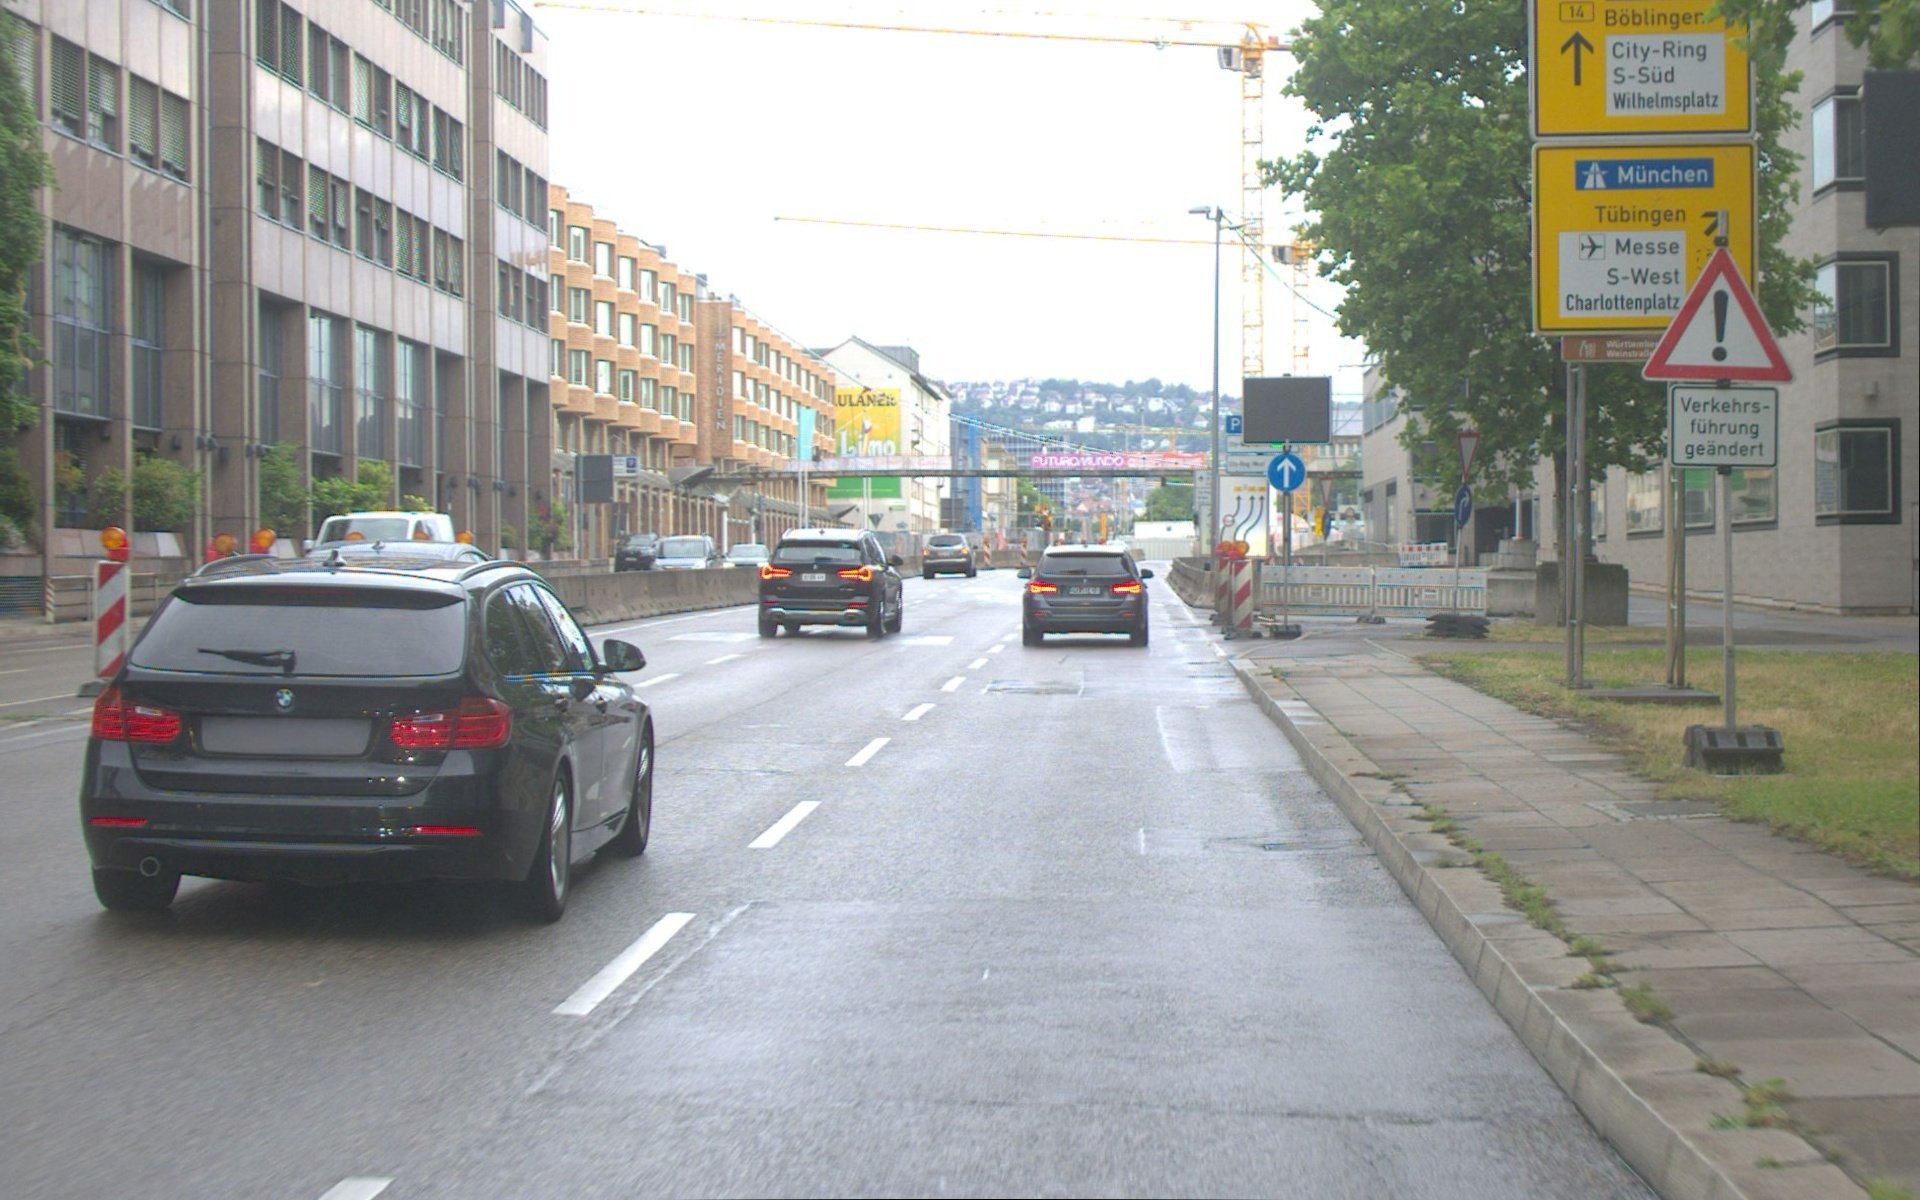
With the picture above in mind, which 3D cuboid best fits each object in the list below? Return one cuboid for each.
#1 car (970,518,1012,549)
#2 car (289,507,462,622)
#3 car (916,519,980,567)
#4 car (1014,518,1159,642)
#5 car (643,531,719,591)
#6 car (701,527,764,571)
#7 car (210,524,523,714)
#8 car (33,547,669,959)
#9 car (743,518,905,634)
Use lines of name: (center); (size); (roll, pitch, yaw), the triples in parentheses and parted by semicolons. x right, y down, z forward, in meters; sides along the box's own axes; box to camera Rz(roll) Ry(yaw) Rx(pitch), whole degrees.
car: (1.688, -3.592, 186.706); (1.994, 1.614, 4.762); (-1, 1, 3)
car: (-10.579, -0.655, 62.611); (1.994, 1.983, 5.289); (-1, 1, 3)
car: (-0.413, -2.084, 126.009); (1.900, 1.687, 3.999); (-1, 1, 6)
car: (1.882, -0.311, 50.047); (1.900, 1.687, 3.999); (1, 1, 5)
car: (-8.540, -1.211, 105.414); (1.721, 1.764, 4.425); (-1, 1, 3)
car: (-8.183, -1.834, 123.861); (1.860, 1.528, 4.230); (-1, 1, 2)
car: (-4.806, 0.112, 28.427); (1.790, 1.421, 4.385); (-1, 1, 0)
car: (-2.385, 0.513, 14.655); (1.791, 1.421, 4.613); (1, 1, 1)
car: (-2.050, -0.384, 52.899); (1.900, 1.687, 3.999); (-1, 1, 6)
